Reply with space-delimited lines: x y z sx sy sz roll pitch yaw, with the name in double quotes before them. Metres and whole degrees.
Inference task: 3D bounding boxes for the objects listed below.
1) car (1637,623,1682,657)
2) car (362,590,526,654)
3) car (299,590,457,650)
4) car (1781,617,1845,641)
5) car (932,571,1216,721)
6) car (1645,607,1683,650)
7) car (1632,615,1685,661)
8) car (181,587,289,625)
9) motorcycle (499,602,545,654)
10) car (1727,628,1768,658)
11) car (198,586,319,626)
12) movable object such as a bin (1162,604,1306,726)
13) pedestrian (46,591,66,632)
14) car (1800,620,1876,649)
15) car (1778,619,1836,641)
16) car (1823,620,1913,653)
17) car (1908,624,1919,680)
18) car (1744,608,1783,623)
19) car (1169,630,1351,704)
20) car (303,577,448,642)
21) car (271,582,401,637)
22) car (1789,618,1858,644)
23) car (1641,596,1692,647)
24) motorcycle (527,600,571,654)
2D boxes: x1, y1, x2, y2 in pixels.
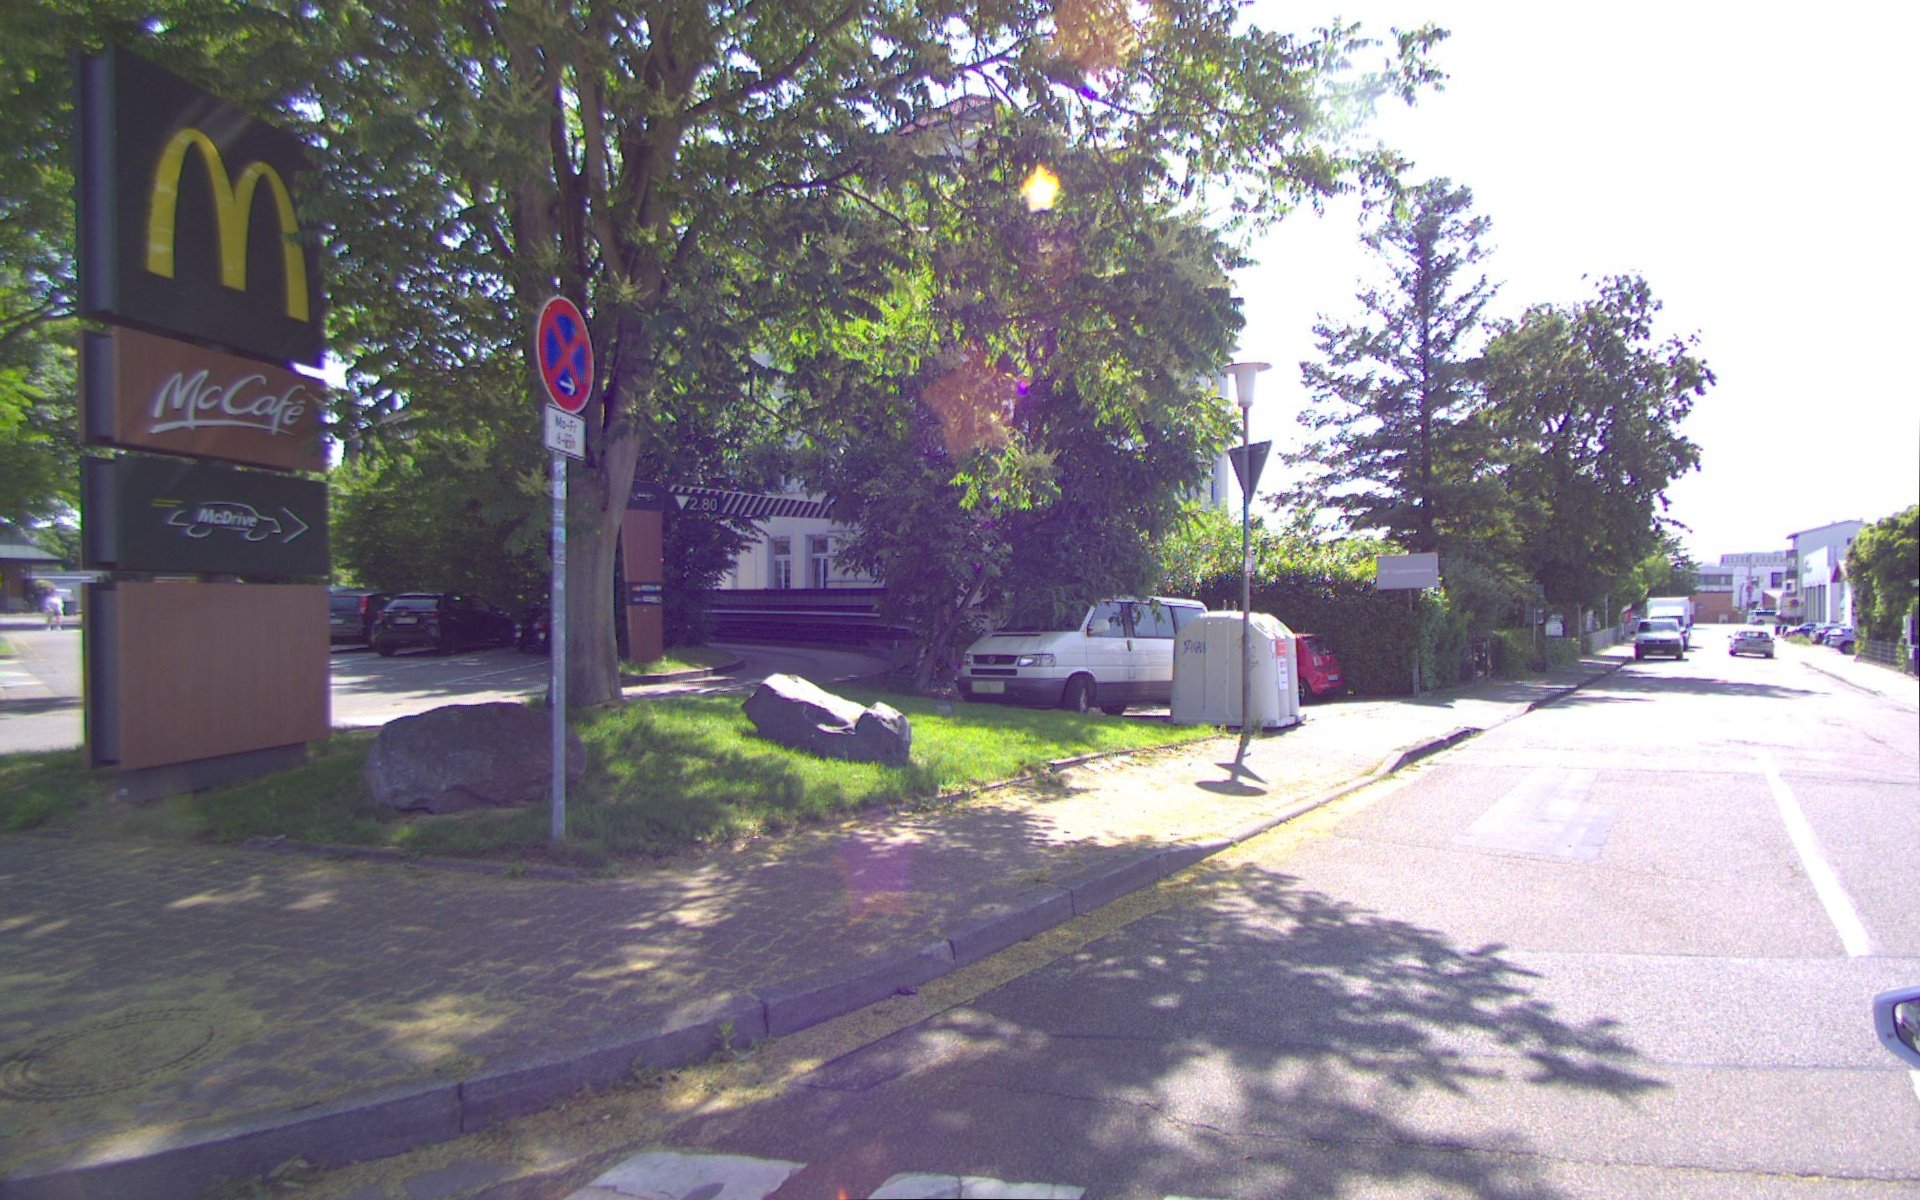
"car" 36.712 2.072 52.686 1.808 1.714 3.985 0 -1 37
"car" -12.457 0.480 24.575 1.735 1.406 4.096 0 1 3
"car" -14.968 0.450 26.111 1.595 1.414 4.072 0 1 3
"car" 68.963 2.331 81.273 3.781 1.787 1.775 1 0 38
"car" 1.865 0.770 15.269 4.495 1.945 1.868 5 -5 -44
"car" 43.024 1.723 61.357 1.808 2.537 3.985 0 -1 37
"car" 33.965 1.841 48.810 2.008 2.083 3.986 0 -2 37
"car" -31.794 0.239 44.178 1.783 1.598 3.870 0 1 4
"motorcycle" -10.243 0.628 23.559 0.560 1.131 2.178 0 1 -12
"car" 42.363 2.293 54.089 1.656 1.513 4.588 0 -1 37
"car" -27.071 0.190 38.917 1.759 1.470 4.048 0 1 2
"movable object such as a bin" 3.820 0.896 13.945 1.431 1.546 1.771 -3 -4 33
"pedestrian" -34.162 0.429 37.949 0.529 1.500 0.512 1 2 44
"car" 60.451 2.344 69.229 3.781 1.787 1.848 1 0 38
"car" 75.173 2.666 89.253 3.812 1.787 1.817 1 0 38
"car" 53.792 2.131 59.627 3.781 1.787 1.848 1 0 38
"car" 32.818 1.684 31.574 4.102 1.773 1.886 0 -1 35
"car" 109.312 2.040 136.665 3.929 1.935 1.811 1 1 31
"car" 6.450 1.433 21.739 3.357 1.485 1.686 -4 -3 41
"car" -17.025 0.230 29.519 1.766 1.755 4.025 0 1 3
"car" -19.482 0.249 31.571 1.610 1.609 3.850 0 1 2
"car" 63.908 2.295 74.424 3.781 1.787 1.775 1 0 38
"car" 49.719 1.500 70.604 2.770 3.361 7.754 0 -1 37
"motorcycle" -9.454 0.601 23.152 0.560 1.147 2.178 0 1 -12
